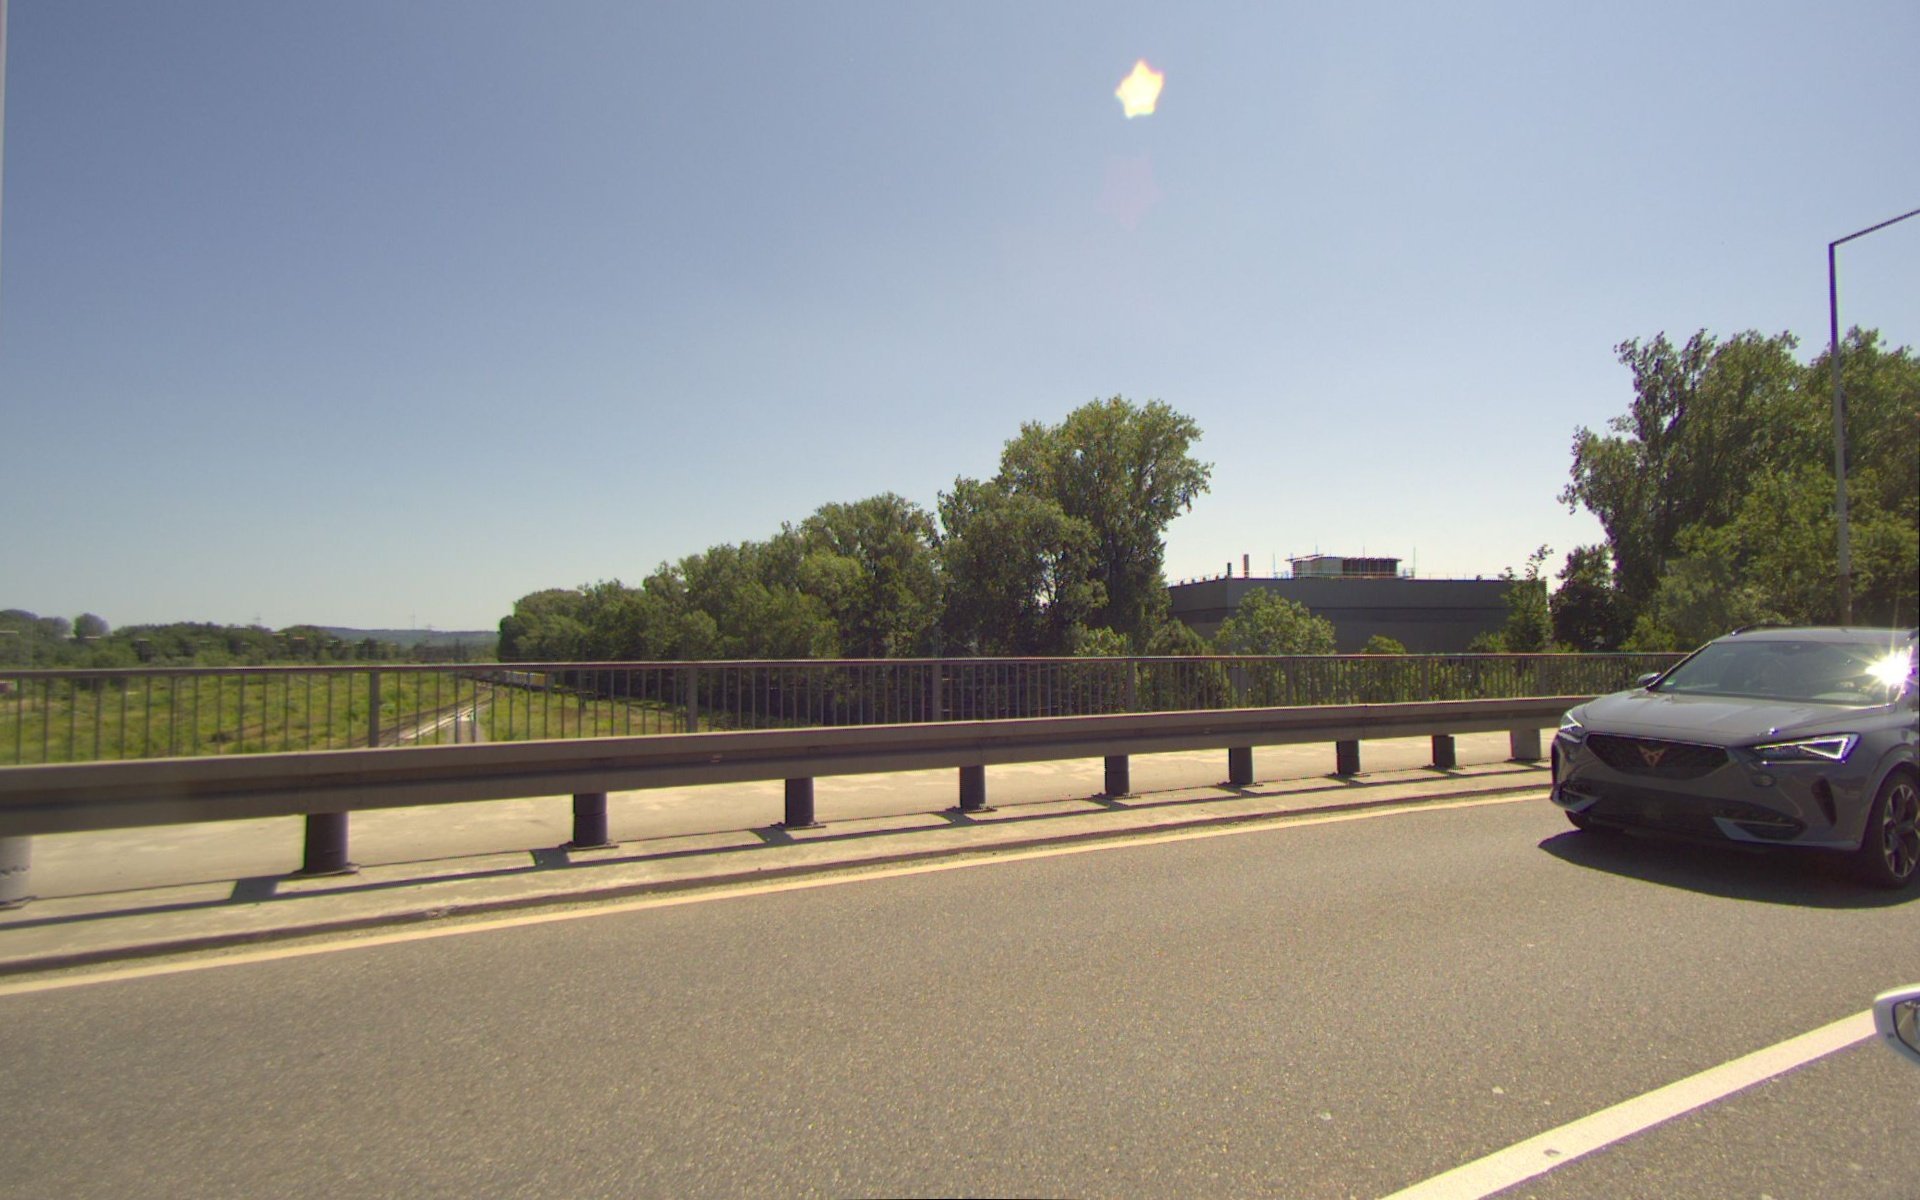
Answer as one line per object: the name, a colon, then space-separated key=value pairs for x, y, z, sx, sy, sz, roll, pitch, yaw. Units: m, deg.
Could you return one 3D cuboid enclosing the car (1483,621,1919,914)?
car: x=5.894 y=0.949 z=7.058 sx=4.262 sy=1.516 sz=1.879 roll=2 pitch=-2 yaw=-28
